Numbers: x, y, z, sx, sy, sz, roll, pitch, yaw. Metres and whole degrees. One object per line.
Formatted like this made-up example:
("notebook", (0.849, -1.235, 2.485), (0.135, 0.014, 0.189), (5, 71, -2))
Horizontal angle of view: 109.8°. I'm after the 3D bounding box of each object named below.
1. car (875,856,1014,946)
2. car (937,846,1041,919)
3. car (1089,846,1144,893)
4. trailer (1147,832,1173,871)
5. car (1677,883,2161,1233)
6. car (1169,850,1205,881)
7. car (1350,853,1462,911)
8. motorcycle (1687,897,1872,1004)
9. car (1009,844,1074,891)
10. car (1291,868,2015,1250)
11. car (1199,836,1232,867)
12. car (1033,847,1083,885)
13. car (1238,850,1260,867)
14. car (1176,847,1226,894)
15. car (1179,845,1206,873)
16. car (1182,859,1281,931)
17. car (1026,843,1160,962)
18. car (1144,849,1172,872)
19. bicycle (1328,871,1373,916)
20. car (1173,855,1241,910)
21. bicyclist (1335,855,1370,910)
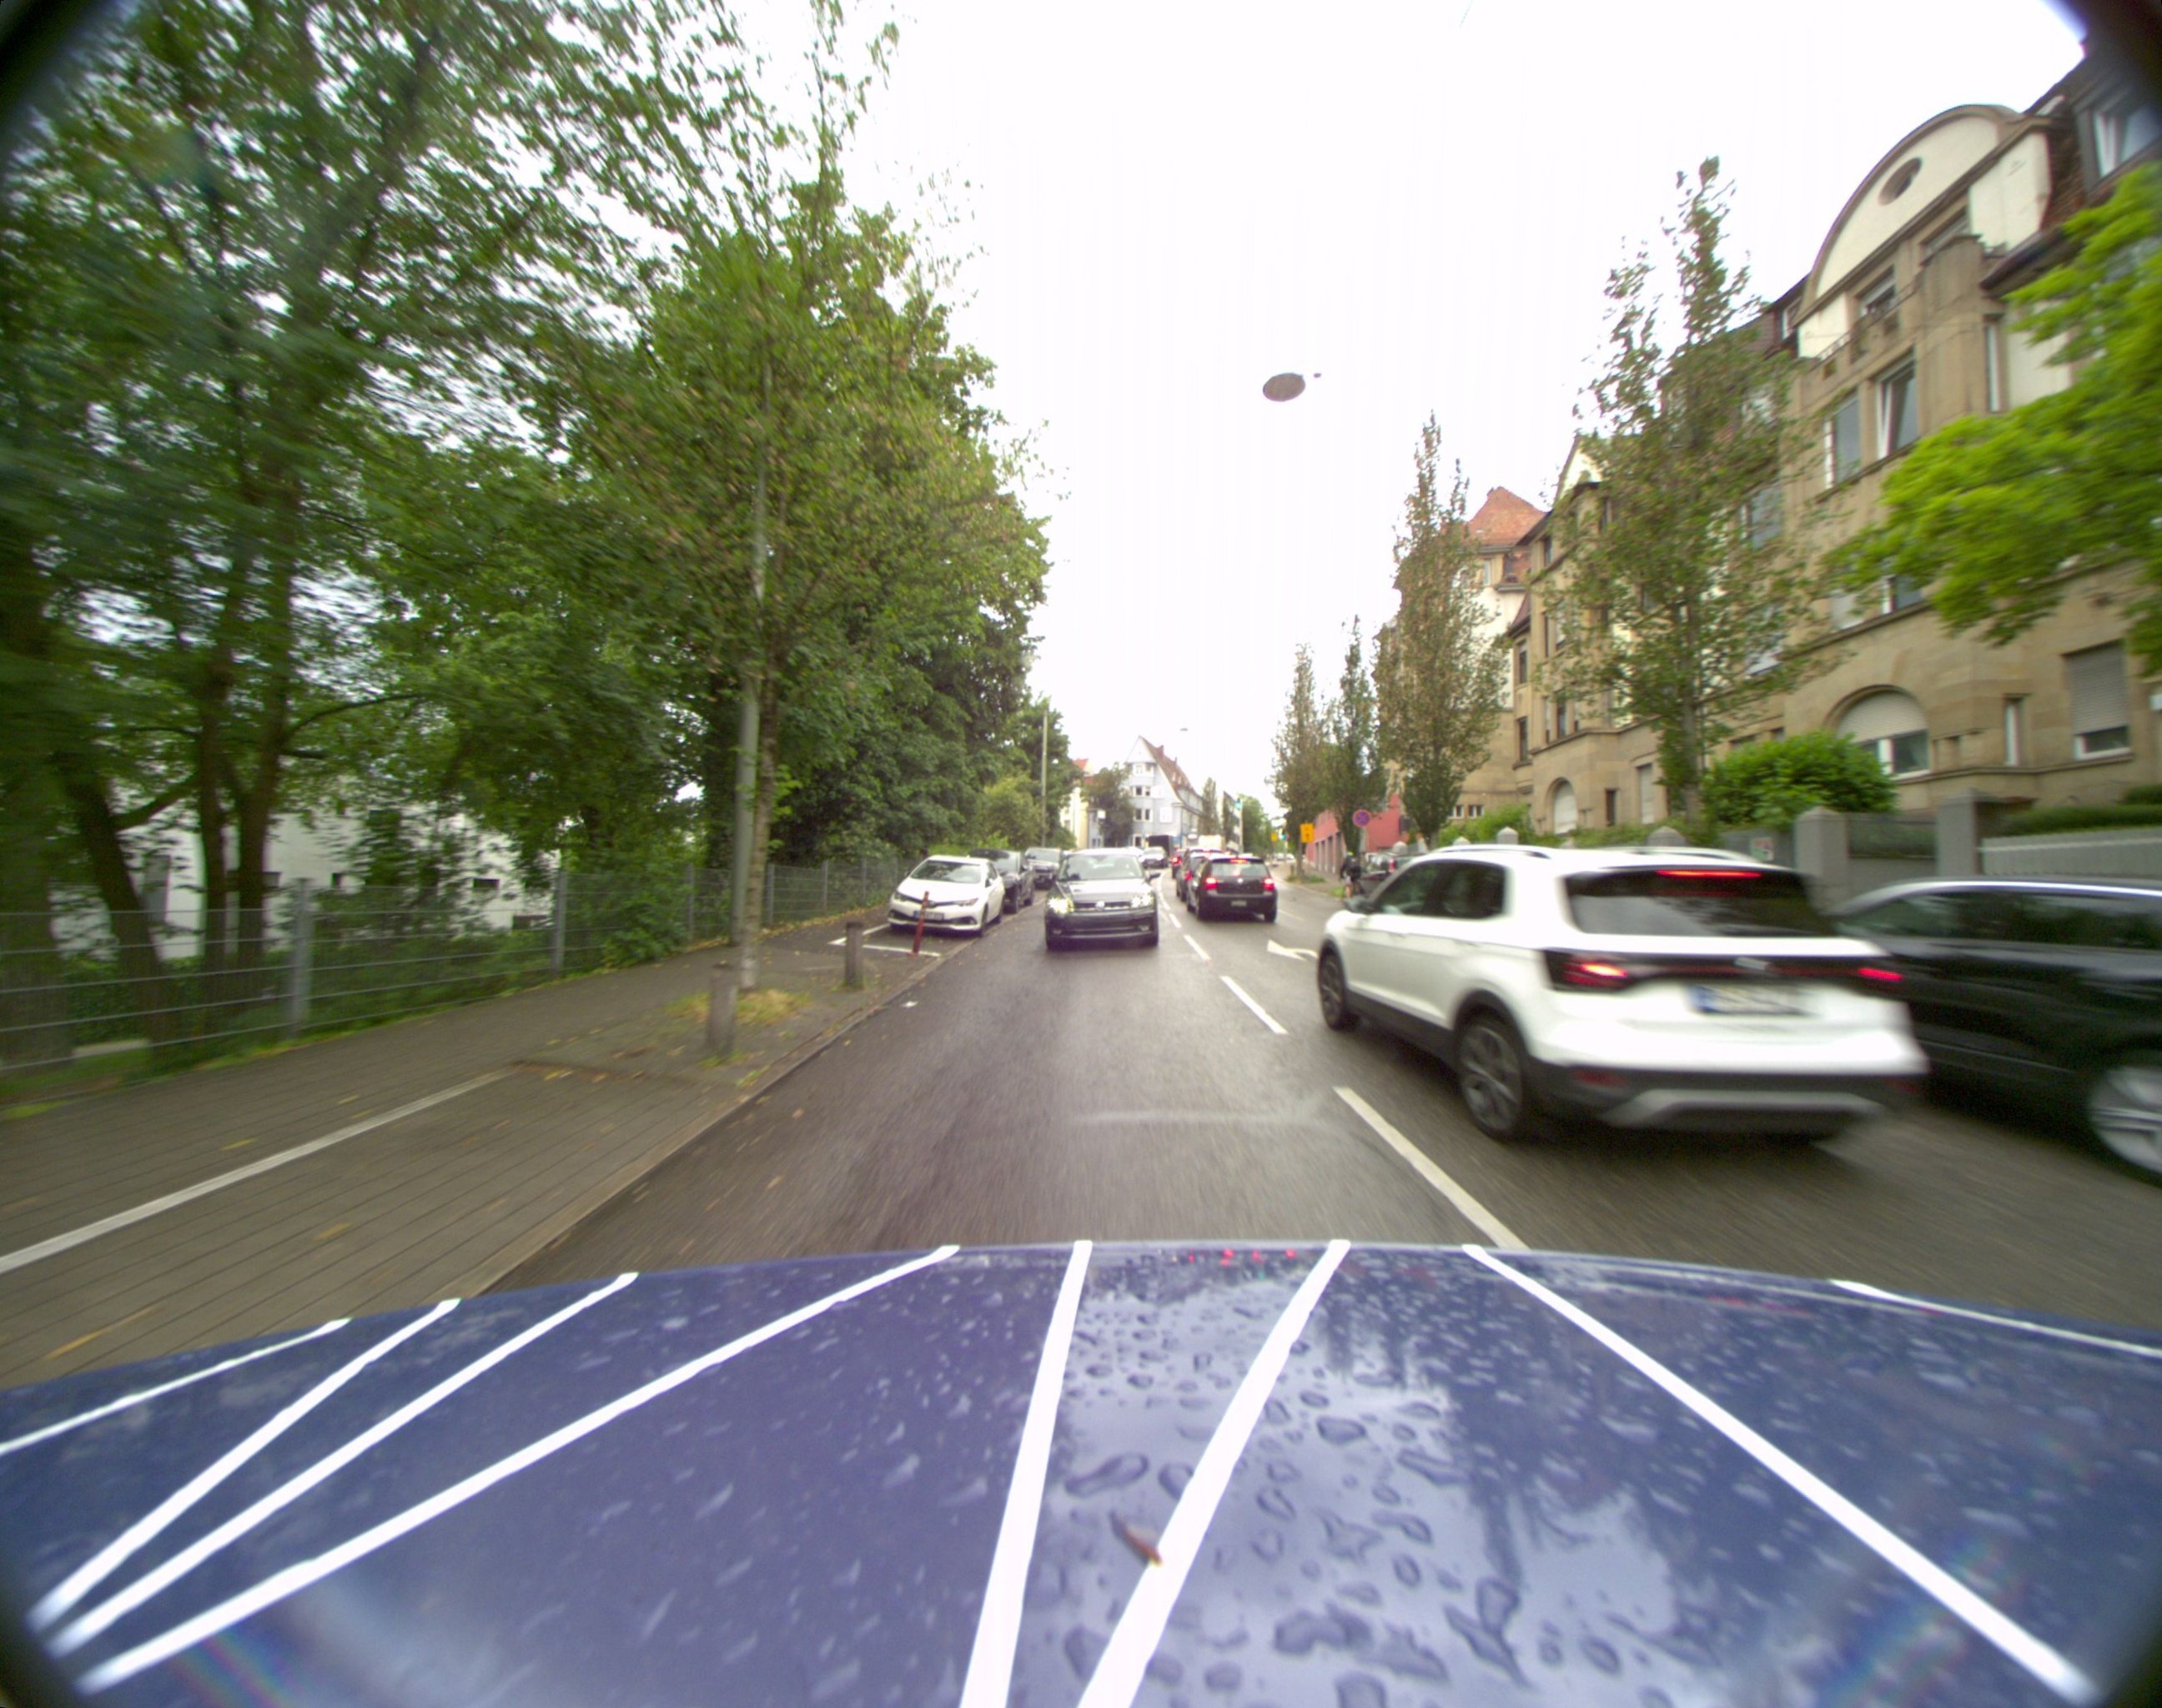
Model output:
("car", (-2.610, 0.860, 15.755), (1.745, 1.454, 4.885), (4, -1, 2))
("car", (-2.397, 0.738, 21.177), (1.925, 1.641, 4.885), (4, -1, 3))
("car", (1.400, 0.587, 29.069), (1.925, 1.641, 4.488), (-1, -1, 4))
("trailer", (6.264, -0.195, 60.348), (1.966, 3.023, 2.366), (-1, -1, 7))
("car", (5.895, 1.047, 4.426), (1.748, 1.508, 3.869), (4, 0, 0))
("car", (5.631, 0.613, 40.845), (1.621, 1.515, 4.116), (3, -1, 5))
("car", (9.933, 0.811, 23.593), (2.000, 1.586, 3.829), (-2, 0, 4))
("motorcycle", (9.430, 1.247, 10.387), (0.657, 1.228, 1.982), (1, -1, -1))
("car", (-1.550, 0.499, 31.497), (1.972, 1.641, 4.817), (4, 1, 4))
("car", (2.913, 0.879, 5.160), (1.777, 1.508, 4.099), (1, -1, -1))
("car", (11.980, -0.151, 67.265), (2.132, 2.491, 5.417), (3, -1, 17))
("car", (-1.048, 0.551, 36.736), (1.925, 1.552, 4.013), (4, 0, 3))
("car", (22.555, 0.677, 101.795), (2.132, 2.015, 5.418), (3, -1, 19))
("car", (4.815, 0.627, 31.002), (1.655, 1.698, 4.115), (3, 0, 5))
("car", (7.378, 0.363, 50.256), (1.621, 1.652, 4.118), (3, -1, 9))
("car", (3.332, 0.848, 17.515), (1.766, 1.423, 3.886), (1, 0, 4))
("car", (0.312, 0.750, 13.253), (1.859, 1.641, 5.197), (1, -1, 3))
("car", (5.856, 0.472, 57.268), (1.924, 1.641, 4.138), (-1, -1, 7))
("bicycle", (7.903, 1.126, 22.348), (0.657, 1.228, 1.982), (1, -1, 2))
("car", (3.818, 0.844, 23.687), (1.715, 1.471, 4.116), (3, -1, 5))
("bicyclist", (7.902, 0.829, 22.123), (0.657, 1.547, 0.991), (1, 0, 2))
